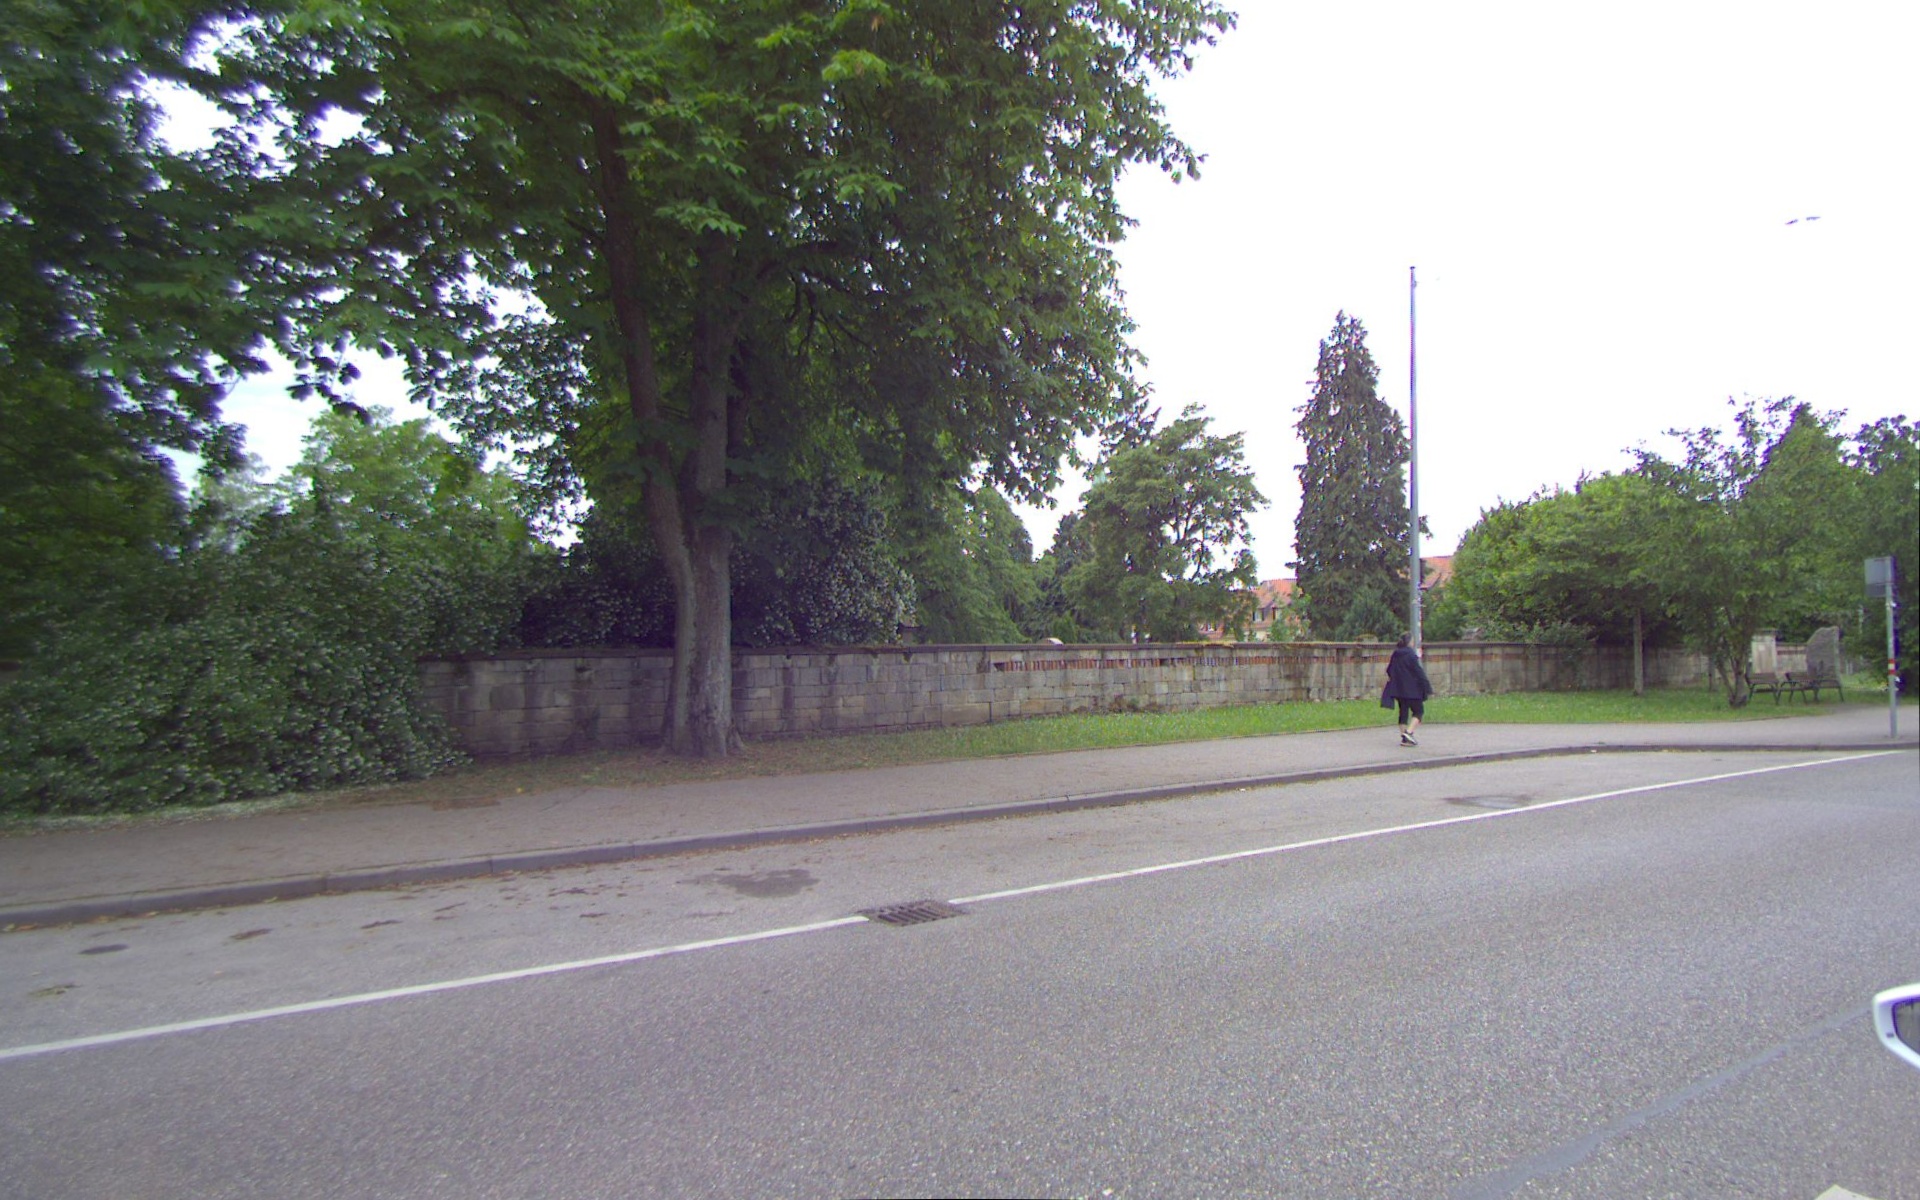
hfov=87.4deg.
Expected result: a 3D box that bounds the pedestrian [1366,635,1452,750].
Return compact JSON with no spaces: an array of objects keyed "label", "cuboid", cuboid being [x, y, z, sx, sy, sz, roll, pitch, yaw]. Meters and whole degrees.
[{"label":"pedestrian","cuboid":[6.517,1.308,14.587,0.955,1.599,0.745,1,-1,-30]}]
